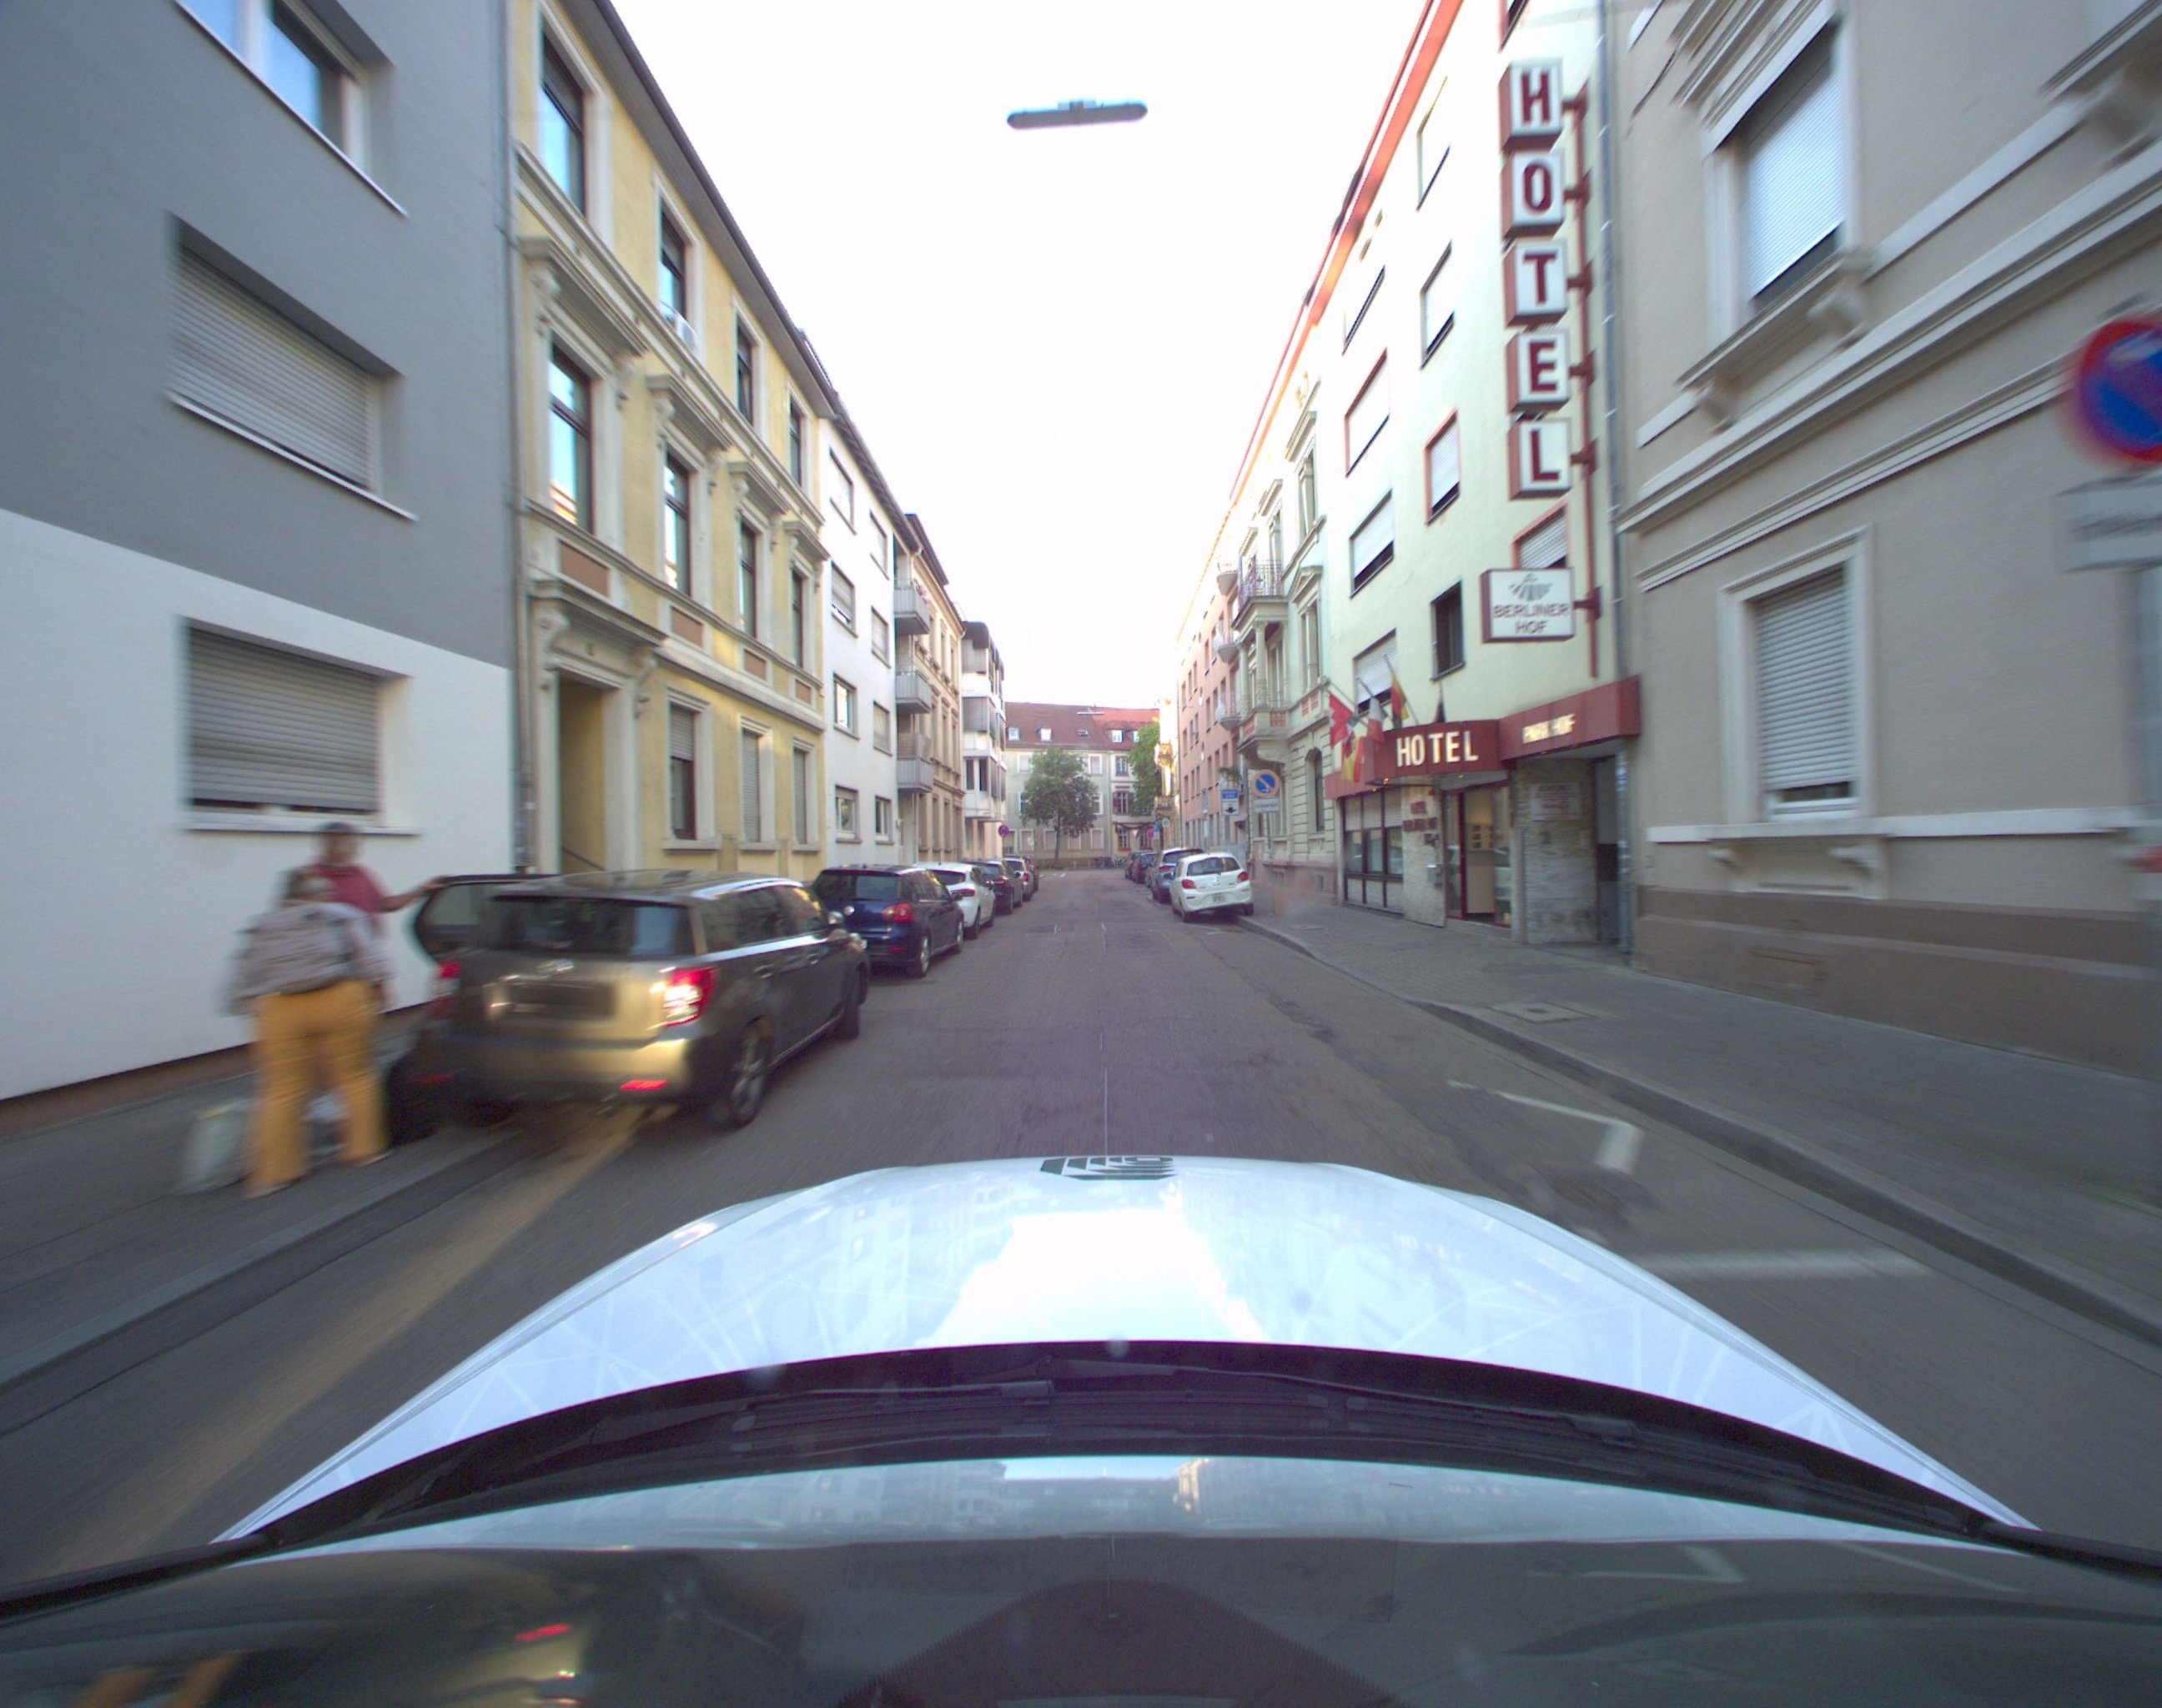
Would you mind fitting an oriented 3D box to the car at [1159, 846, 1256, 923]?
[{"bbox_3d":[2.939,0.649,19.680,1.657,1.458,3.760,-7,0,1],"label":"car"}]

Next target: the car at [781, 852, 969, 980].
[{"bbox_3d":[-2.841,0.773,12.095,1.722,1.509,3.831,-2,1,1],"label":"car"}]

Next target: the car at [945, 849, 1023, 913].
[{"bbox_3d":[-2.651,0.687,23.170,1.609,1.570,4.304,-2,1,1],"label":"car"}]

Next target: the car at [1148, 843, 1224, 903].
[{"bbox_3d":[3.273,0.559,26.146,1.986,1.732,4.061,-2,0,1],"label":"car"}]

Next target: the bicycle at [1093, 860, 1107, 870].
[{"bbox_3d":[1.849,1.069,78.758,0.521,0.949,1.707,-1,-1,-32],"label":"bicycle"}]

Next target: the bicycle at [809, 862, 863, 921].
[{"bbox_3d":[-5.427,0.793,18.146,0.521,1.200,2.123,-3,0,0],"label":"bicycle"}]

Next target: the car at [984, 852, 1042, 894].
[{"bbox_3d":[-2.867,0.770,35.309,1.986,1.662,3.979,-2,0,2],"label":"car"}]

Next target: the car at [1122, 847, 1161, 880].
[{"bbox_3d":[3.424,0.505,46.802,1.986,1.761,4.002,-2,0,2],"label":"car"}]

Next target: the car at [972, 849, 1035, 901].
[{"bbox_3d":[-2.705,0.695,29.254,1.989,1.666,4.405,-2,0,-2],"label":"car"}]

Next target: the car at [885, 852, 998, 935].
[{"bbox_3d":[-2.803,0.738,17.121,1.624,1.472,3.755,-2,1,1],"label":"car"}]

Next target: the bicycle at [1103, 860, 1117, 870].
[{"bbox_3d":[2.754,1.014,77.292,0.521,0.894,1.708,-3,2,-32],"label":"bicycle"}]

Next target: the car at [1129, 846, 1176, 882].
[{"bbox_3d":[3.611,0.476,41.724,1.987,1.708,3.999,-2,0,0],"label":"car"}]

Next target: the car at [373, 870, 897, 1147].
[{"bbox_3d":[-2.766,0.837,6.259,1.678,1.332,4.131,-2,-1,1],"label":"car"}]

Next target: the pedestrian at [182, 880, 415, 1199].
[{"bbox_3d":[-3.920,0.856,4.145,0.663,1.410,0.666,-1,0,-27],"label":"pedestrian"}]

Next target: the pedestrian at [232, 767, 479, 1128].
[{"bbox_3d":[-4.397,0.518,5.010,0.797,2.013,0.773,-2,0,-10],"label":"pedestrian"}]

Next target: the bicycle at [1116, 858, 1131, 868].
[{"bbox_3d":[4.016,0.831,77.888,0.521,0.949,1.707,-1,0,-32],"label":"bicycle"}]

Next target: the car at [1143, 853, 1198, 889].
[{"bbox_3d":[3.750,0.671,34.586,1.986,1.384,3.708,-2,0,2],"label":"car"}]
